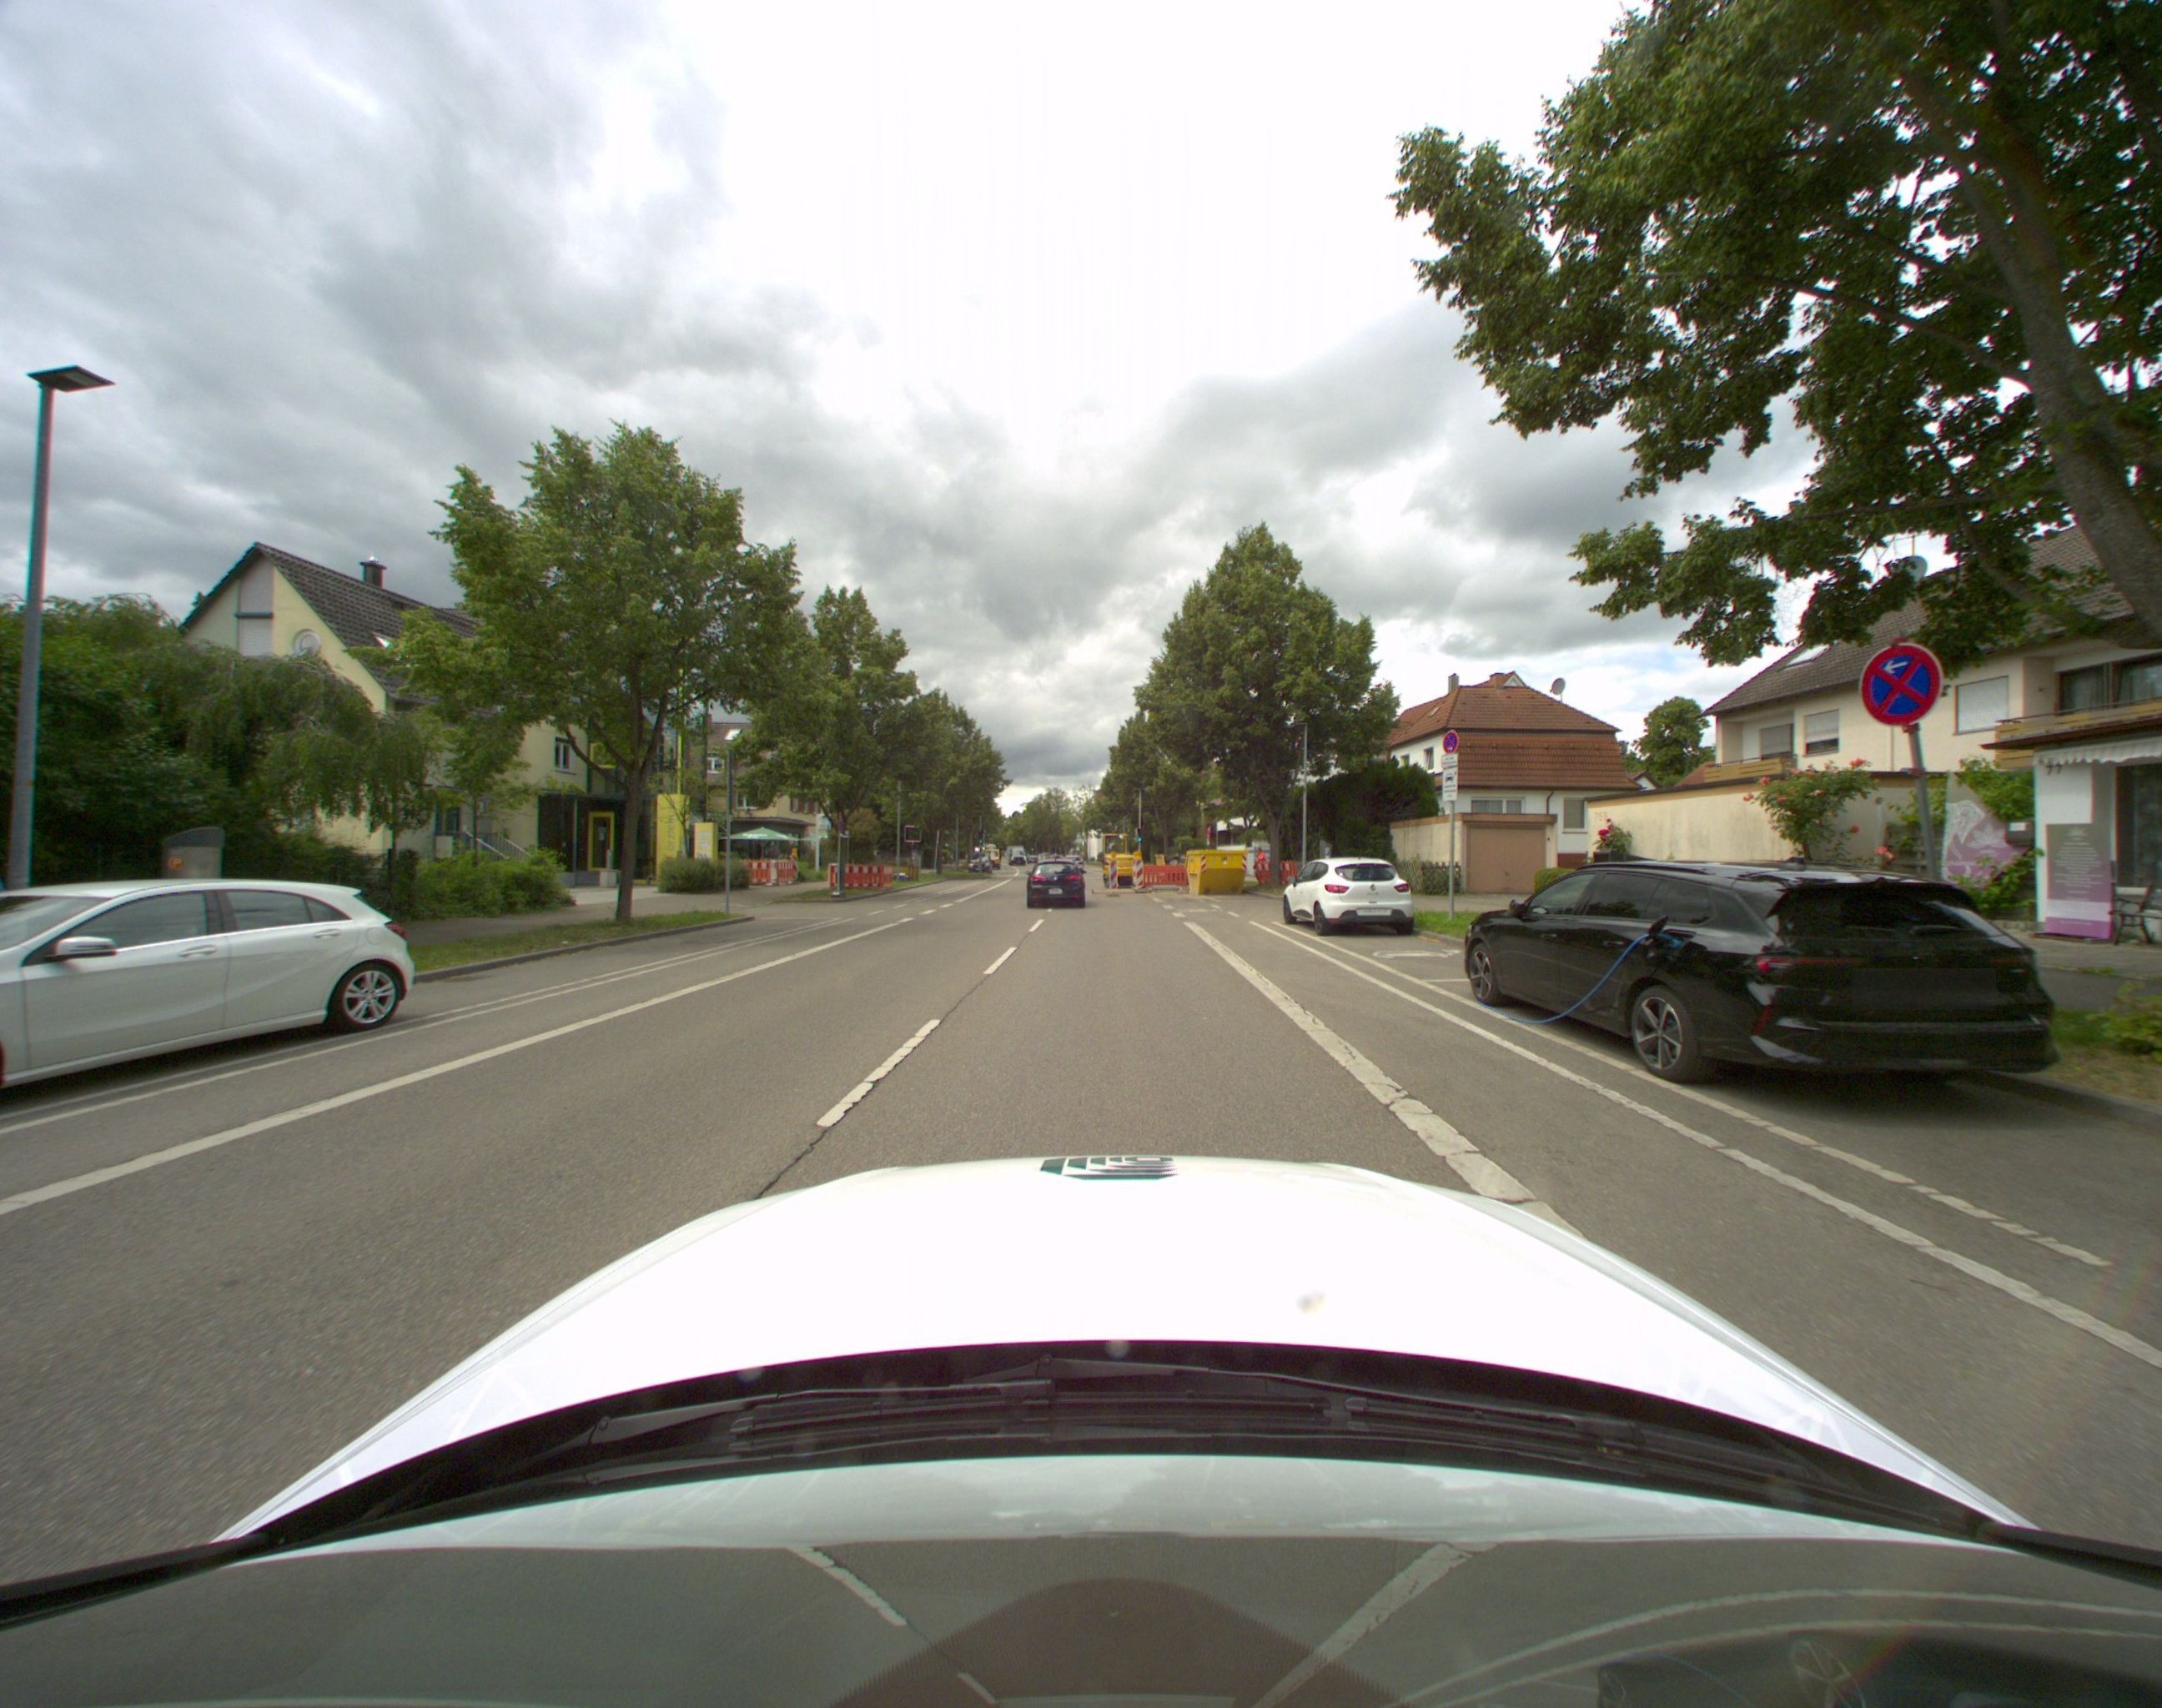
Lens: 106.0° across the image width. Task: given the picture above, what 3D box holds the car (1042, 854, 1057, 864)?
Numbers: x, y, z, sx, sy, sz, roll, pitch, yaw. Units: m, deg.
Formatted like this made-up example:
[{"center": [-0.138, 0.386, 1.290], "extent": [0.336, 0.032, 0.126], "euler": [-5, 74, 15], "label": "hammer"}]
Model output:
[{"center": [-4.668, 0.703, 120.653], "extent": [1.809, 1.415, 3.683], "euler": [0, 0, -8], "label": "car"}]

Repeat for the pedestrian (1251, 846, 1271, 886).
[{"center": [7.349, 0.485, 33.256], "extent": [0.701, 1.634, 0.643], "euler": [-1, 0, 1], "label": "pedestrian"}]

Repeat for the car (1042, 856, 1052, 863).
[{"center": [-6.732, 1.038, 162.182], "extent": [1.805, 1.415, 3.690], "euler": [0, 0, -2], "label": "car"}]

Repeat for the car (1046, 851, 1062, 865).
[{"center": [-3.281, 0.462, 99.328], "extent": [1.788, 1.623, 3.733], "euler": [-1, 0, -5], "label": "car"}]

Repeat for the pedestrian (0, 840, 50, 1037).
[{"center": [-8.784, 0.656, 6.431], "extent": [0.585, 1.529, 0.692], "euler": [0, -1, -32], "label": "pedestrian"}]

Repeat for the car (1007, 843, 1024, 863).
[{"center": [-9.691, -0.187, 120.468], "extent": [2.283, 2.792, 7.133], "euler": [-1, 0, -4], "label": "car"}]

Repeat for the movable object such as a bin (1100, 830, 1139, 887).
[{"center": [1.794, 0.194, 38.824], "extent": [1.762, 2.574, 3.741], "euler": [0, 0, 2], "label": "movable object such as a bin"}]

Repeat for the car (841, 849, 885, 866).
[{"center": [-22.269, 0.374, 83.438], "extent": [3.970, 1.769, 1.747], "euler": [0, -1, 3], "label": "car"}]

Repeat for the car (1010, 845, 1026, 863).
[{"center": [-8.820, 0.047, 114.308], "extent": [2.025, 2.385, 5.254], "euler": [-1, 0, -4], "label": "car"}]

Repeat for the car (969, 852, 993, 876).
[{"center": [-8.090, 0.787, 66.244], "extent": [1.664, 1.772, 4.461], "euler": [-1, 0, -4], "label": "car"}]

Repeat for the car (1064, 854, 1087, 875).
[{"center": [-0.508, 0.853, 69.088], "extent": [1.900, 1.685, 3.737], "euler": [-1, 0, -2], "label": "car"}]

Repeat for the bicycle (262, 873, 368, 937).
[{"center": [-13.698, 0.884, 14.618], "extent": [0.461, 1.048, 1.580], "euler": [0, 0, -3], "label": "bicycle"}]

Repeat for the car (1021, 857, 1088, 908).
[{"center": [-0.753, 0.822, 25.260], "extent": [1.812, 1.437, 3.741], "euler": [-1, 0, 2], "label": "car"}]

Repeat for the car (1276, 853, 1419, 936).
[{"center": [5.236, 0.726, 16.546], "extent": [1.666, 1.462, 4.001], "euler": [-1, 0, 1], "label": "car"}]

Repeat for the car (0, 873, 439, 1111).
[{"center": [-7.462, 0.901, 6.042], "extent": [1.706, 1.406, 4.306], "euler": [-1, 0, 5], "label": "car"}]

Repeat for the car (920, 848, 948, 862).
[{"center": [-20.529, 0.139, 114.170], "extent": [3.676, 1.926, 1.676], "euler": [0, 0, -5], "label": "car"}]

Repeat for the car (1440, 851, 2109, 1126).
[{"center": [4.712, 0.724, 6.659], "extent": [1.698, 1.454, 4.620], "euler": [-1, 0, 3], "label": "car"}]

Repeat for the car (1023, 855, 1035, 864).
[{"center": [-8.347, 0.860, 130.679], "extent": [1.807, 1.375, 3.687], "euler": [0, 0, -5], "label": "car"}]

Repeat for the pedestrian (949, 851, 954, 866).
[{"center": [-15.952, 0.541, 100.106], "extent": [0.594, 1.741, 0.573], "euler": [0, 0, -5], "label": "pedestrian"}]

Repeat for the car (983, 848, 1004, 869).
[{"center": [-9.468, 0.512, 88.149], "extent": [2.089, 2.175, 5.036], "euler": [0, 0, -4], "label": "car"}]

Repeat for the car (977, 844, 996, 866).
[{"center": [-11.426, 0.085, 98.745], "extent": [2.089, 2.626, 5.036], "euler": [0, 0, -4], "label": "car"}]
